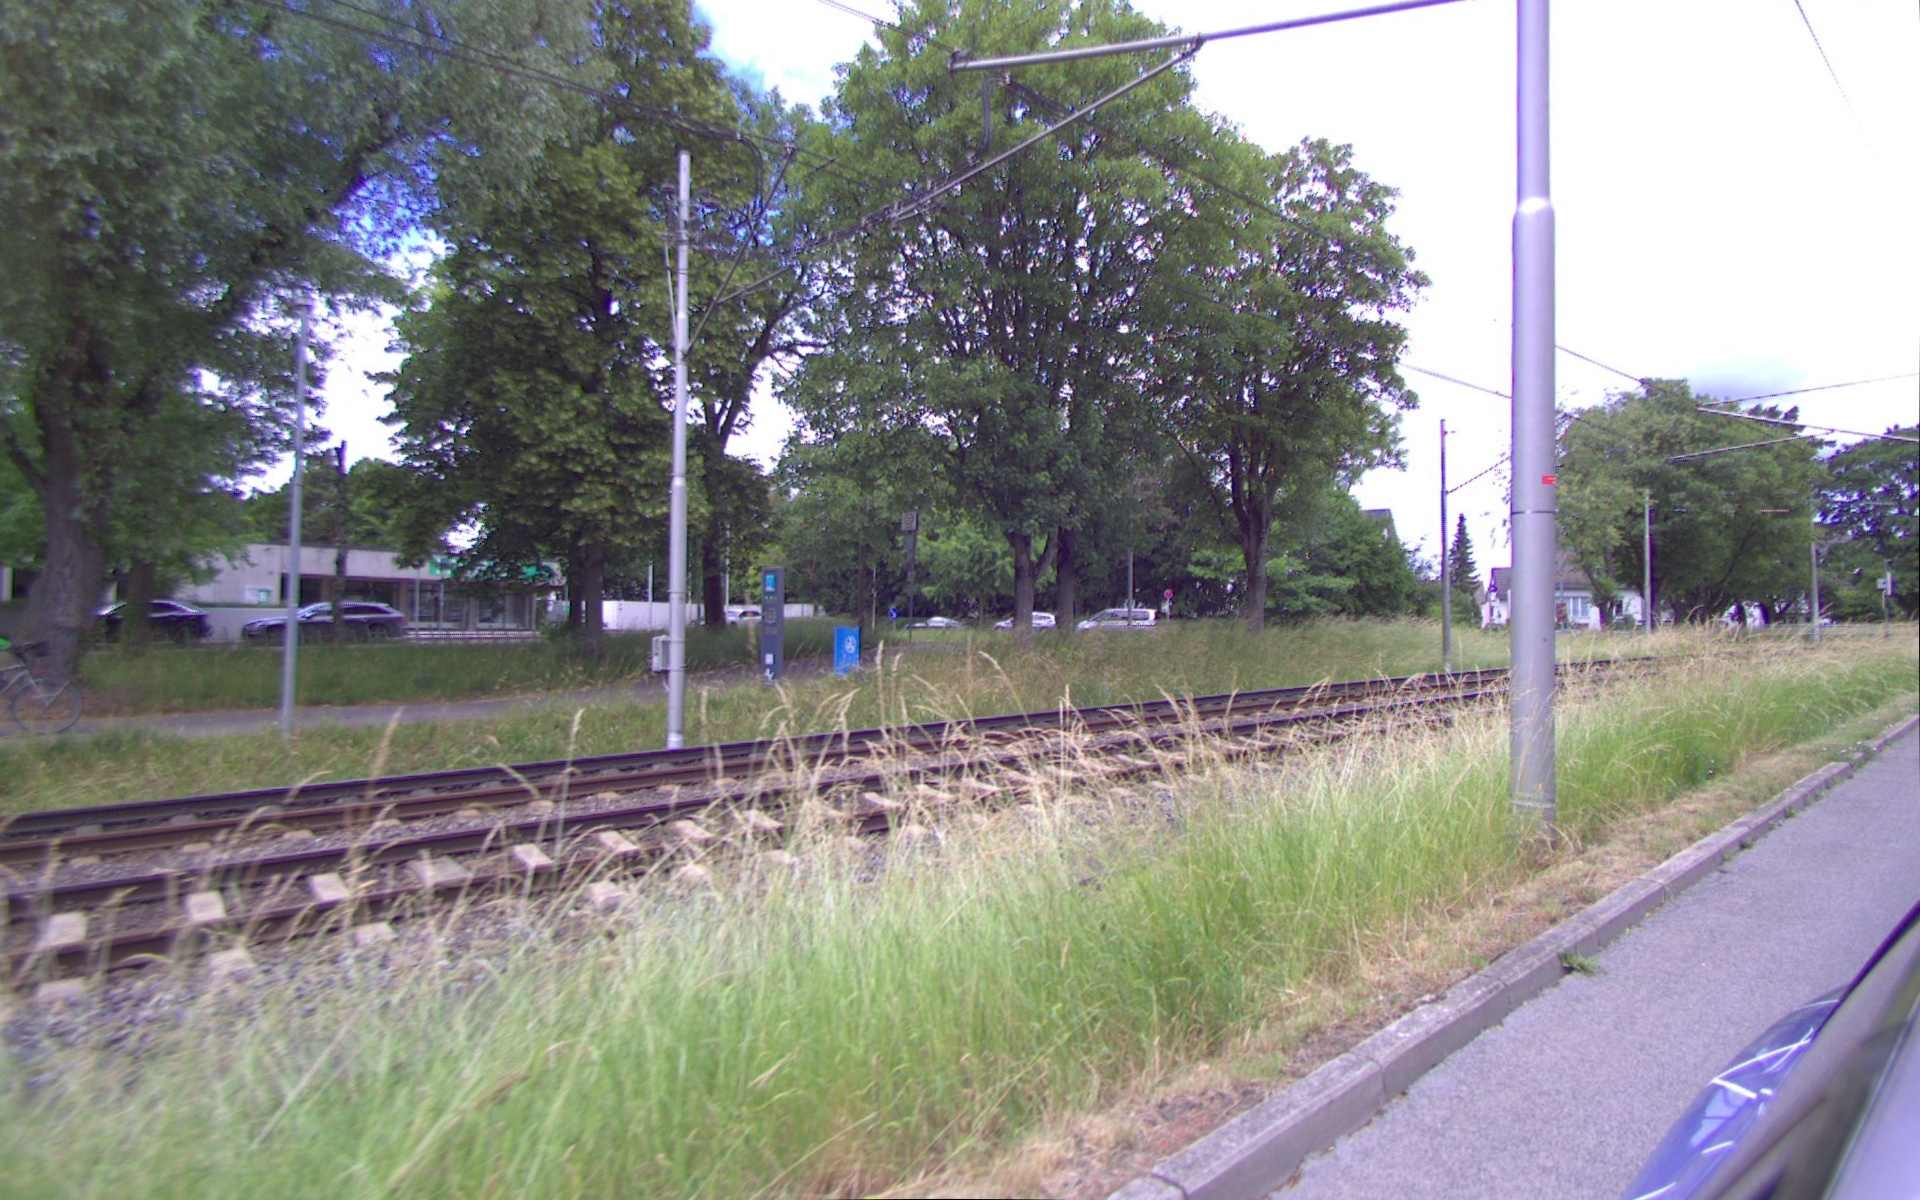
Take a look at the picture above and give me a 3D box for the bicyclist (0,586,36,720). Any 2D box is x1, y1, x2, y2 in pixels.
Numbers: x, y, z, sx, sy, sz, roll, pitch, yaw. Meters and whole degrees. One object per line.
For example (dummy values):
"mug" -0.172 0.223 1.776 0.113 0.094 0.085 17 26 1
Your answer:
"bicyclist" -12.593 0.681 13.093 0.920 1.718 0.581 1 -2 -44

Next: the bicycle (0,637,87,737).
"bicycle" -12.573 1.131 13.090 1.897 1.262 0.581 0 -1 -45

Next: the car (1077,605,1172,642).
"car" 8.775 1.216 53.950 4.666 1.885 1.900 0 -1 26

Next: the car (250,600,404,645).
"car" -21.697 0.737 34.758 4.270 1.461 1.997 0 -1 -41

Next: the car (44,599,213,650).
"car" -25.602 0.726 31.269 3.930 1.461 1.997 0 -1 -41

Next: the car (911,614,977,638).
"car" -0.928 1.489 58.785 3.490 1.351 1.658 0 -1 26

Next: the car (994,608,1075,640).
"car" 4.160 1.319 56.510 4.154 1.700 1.755 0 -1 26

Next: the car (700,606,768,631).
"car" -15.176 1.218 68.053 1.964 1.601 4.412 -1 -1 32
